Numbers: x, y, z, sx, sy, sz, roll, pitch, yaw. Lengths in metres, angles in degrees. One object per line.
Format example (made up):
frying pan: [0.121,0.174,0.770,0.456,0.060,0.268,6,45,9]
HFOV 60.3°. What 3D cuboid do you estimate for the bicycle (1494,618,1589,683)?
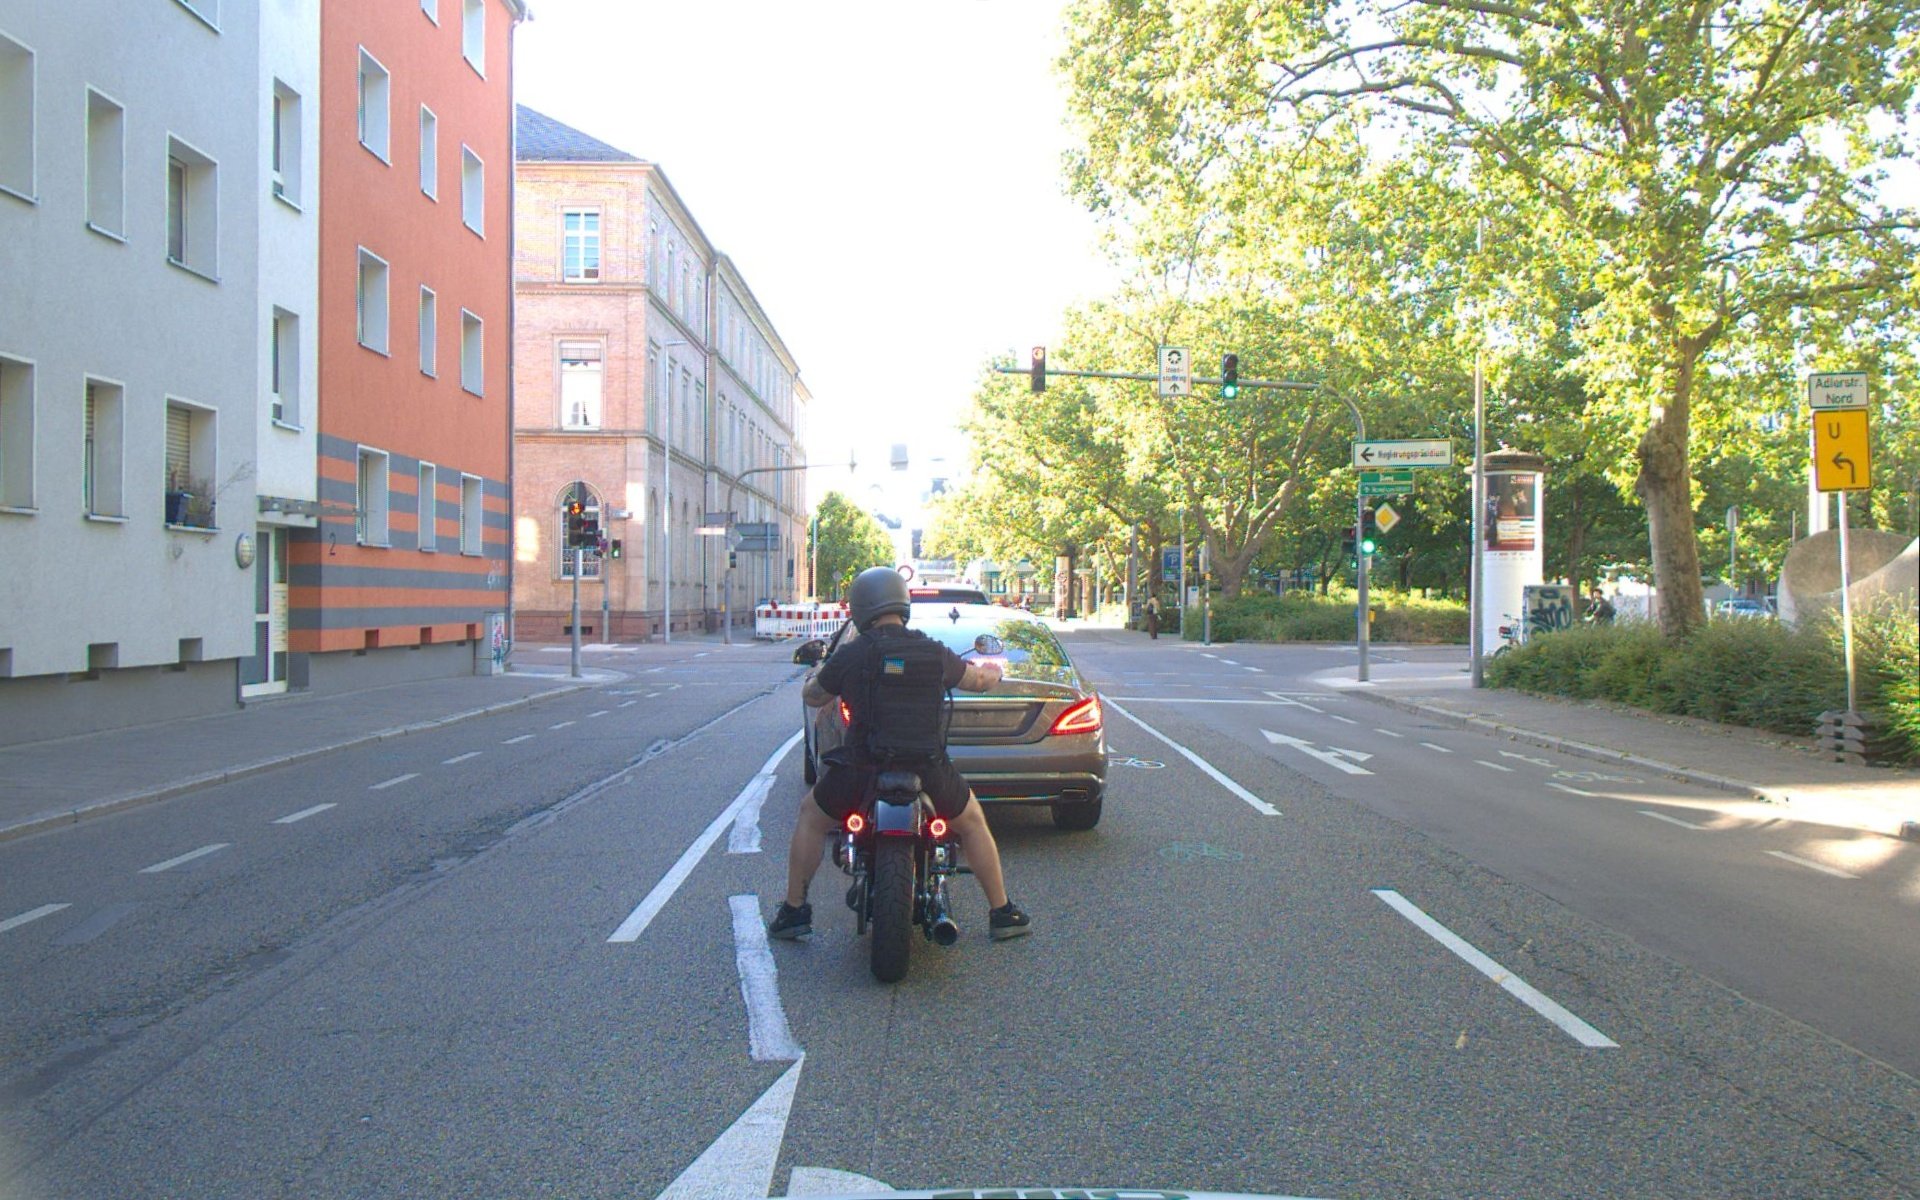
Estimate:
bicycle: [9.693,0.833,27.593,1.387,1.055,0.538,0,0,-5]

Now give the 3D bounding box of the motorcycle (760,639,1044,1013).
motorcycle: [-0.220,0.823,7.109,0.987,1.225,2.664,0,0,-1]

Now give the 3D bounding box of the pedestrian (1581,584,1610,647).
pedestrian: [18.627,0.452,48.499,0.607,1.815,0.630,0,0,1]

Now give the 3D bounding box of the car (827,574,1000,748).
car: [-0.507,0.579,17.673,1.647,1.653,3.839,0,0,-2]

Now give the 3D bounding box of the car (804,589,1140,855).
car: [-0.123,0.687,11.626,1.787,1.502,4.346,0,0,-7]

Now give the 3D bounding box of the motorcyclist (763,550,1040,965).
motorcyclist: [-0.238,0.620,7.154,1.090,1.641,1.202,0,0,-1]

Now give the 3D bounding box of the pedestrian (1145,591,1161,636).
pedestrian: [7.338,0.510,62.856,0.548,1.707,0.564,0,0,-1]

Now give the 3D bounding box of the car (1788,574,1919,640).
car: [25.751,0.188,46.529,3.912,1.815,2.001,0,0,4]
